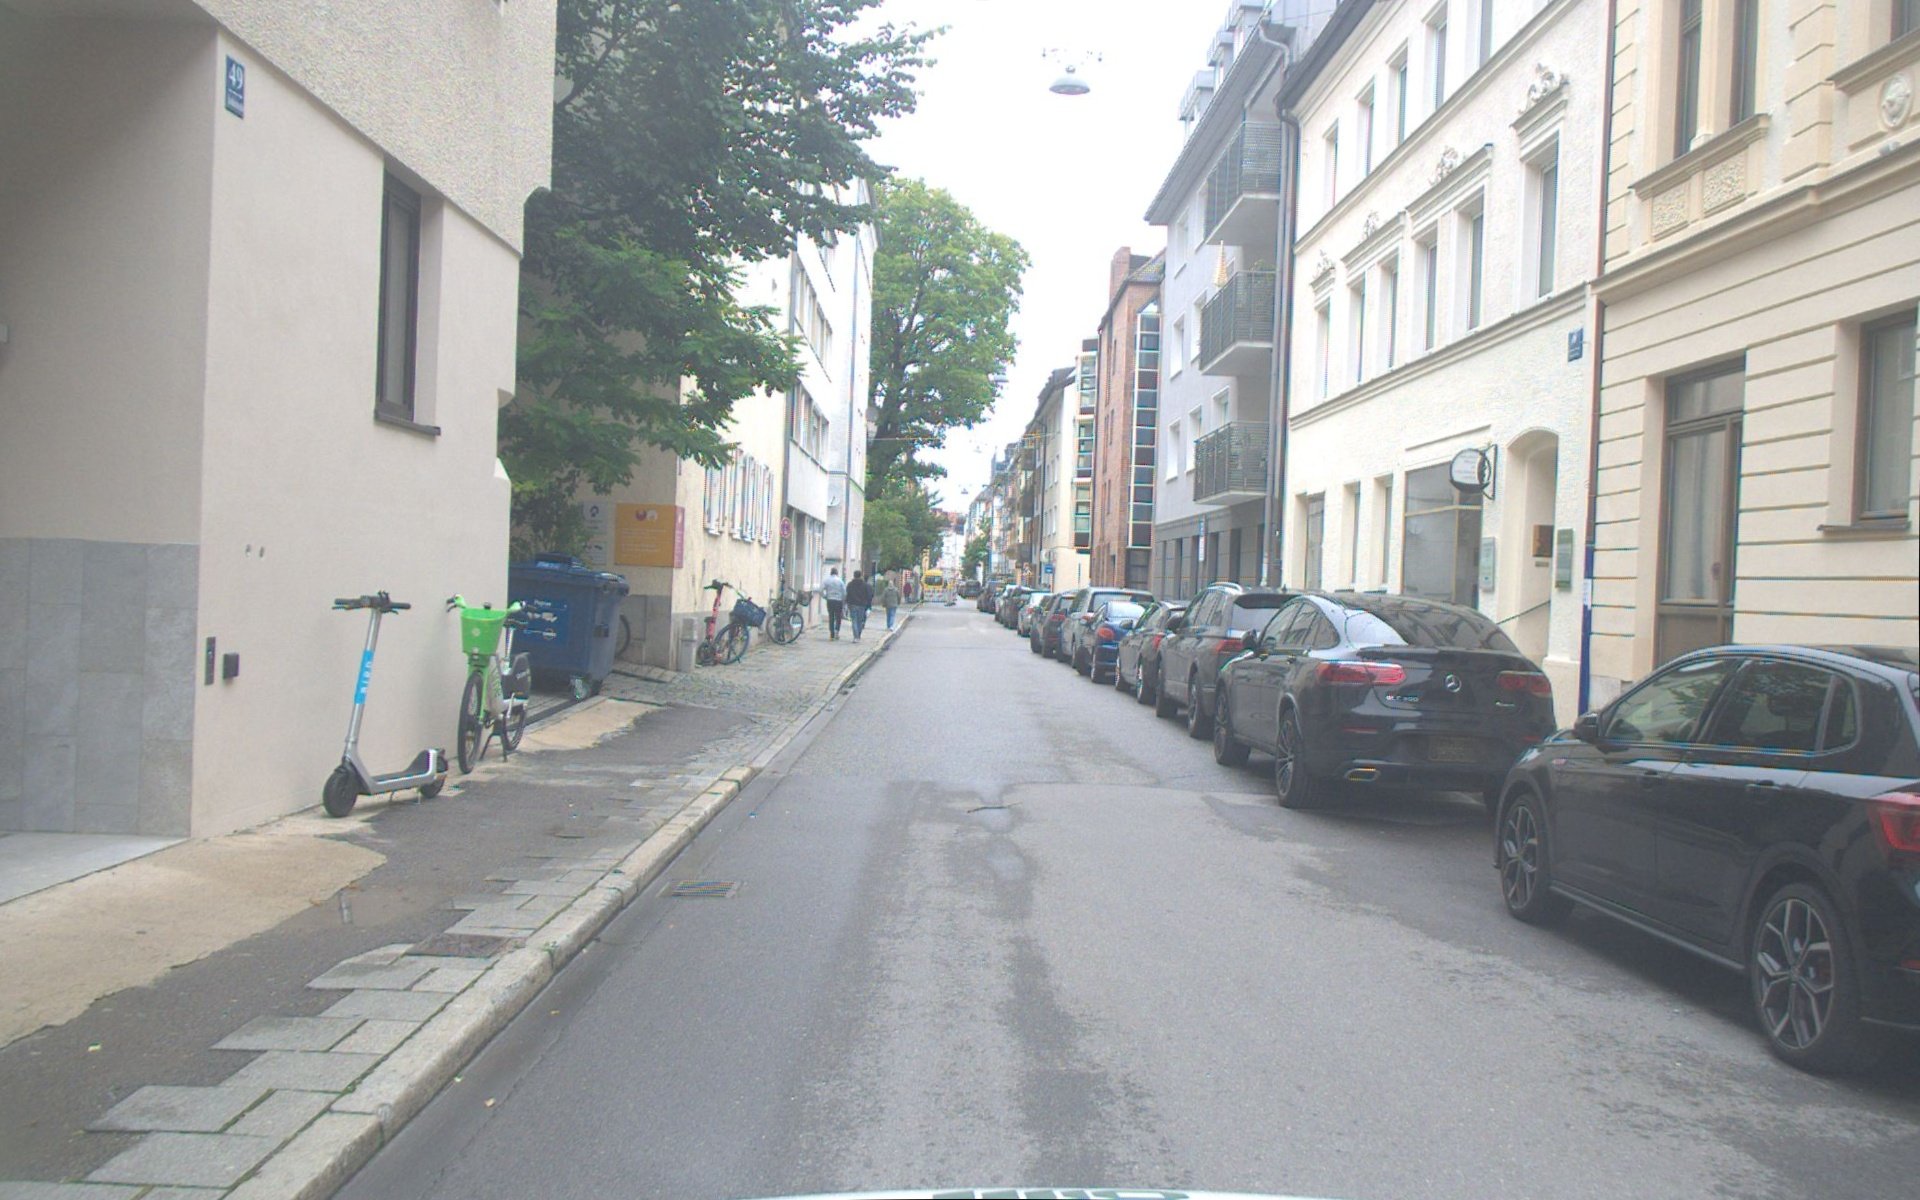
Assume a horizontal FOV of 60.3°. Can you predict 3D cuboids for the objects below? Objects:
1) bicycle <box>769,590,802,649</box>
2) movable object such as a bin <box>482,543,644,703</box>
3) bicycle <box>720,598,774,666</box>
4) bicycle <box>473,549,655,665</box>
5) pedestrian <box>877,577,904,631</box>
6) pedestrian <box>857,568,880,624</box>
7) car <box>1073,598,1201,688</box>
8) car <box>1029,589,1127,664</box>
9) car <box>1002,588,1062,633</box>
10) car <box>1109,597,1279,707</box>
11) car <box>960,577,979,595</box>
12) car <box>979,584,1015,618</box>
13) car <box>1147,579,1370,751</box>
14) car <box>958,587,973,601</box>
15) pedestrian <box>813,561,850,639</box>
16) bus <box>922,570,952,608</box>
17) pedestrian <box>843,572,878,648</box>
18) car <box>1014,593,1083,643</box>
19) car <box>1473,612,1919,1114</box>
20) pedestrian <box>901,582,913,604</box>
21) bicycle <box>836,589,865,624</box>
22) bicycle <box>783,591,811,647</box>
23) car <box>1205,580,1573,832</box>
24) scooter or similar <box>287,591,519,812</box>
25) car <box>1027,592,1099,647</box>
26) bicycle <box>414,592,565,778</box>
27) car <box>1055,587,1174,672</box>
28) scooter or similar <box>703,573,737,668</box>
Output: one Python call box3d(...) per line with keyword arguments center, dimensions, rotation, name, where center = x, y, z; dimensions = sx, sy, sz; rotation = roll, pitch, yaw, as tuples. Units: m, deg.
box3d(center=(-3.689, 0.406, 35.018), dimensions=(0.449, 1.179, 1.605), rotation=(4, 0, 0), name="bicycle")
box3d(center=(-4.115, 0.216, 17.265), dimensions=(1.150, 1.466, 1.249), rotation=(7, 2, 5), name="movable object such as a bin")
box3d(center=(-3.446, 0.502, 26.879), dimensions=(0.690, 1.001, 1.821), rotation=(6, 0, -5), name="bicycle")
box3d(center=(-5.165, 0.088, 21.656), dimensions=(2.156, 1.321, 0.514), rotation=(5, 0, -2), name="bicycle")
box3d(center=(-2.259, 0.137, 54.122), dimensions=(0.738, 1.687, 0.906), rotation=(4, 0, -1), name="pedestrian")
box3d(center=(-2.957, -0.122, 53.696), dimensions=(0.600, 1.743, 0.823), rotation=(4, 0, -1), name="pedestrian")
box3d(center=(3.016, 0.703, 28.903), dimensions=(1.771, 1.387, 3.945), rotation=(2, 0, 0), name="car")
box3d(center=(2.708, 0.568, 38.703), dimensions=(1.803, 1.555, 4.291), rotation=(3, 0, -2), name="car")
box3d(center=(2.712, 0.362, 63.569), dimensions=(1.848, 1.582, 4.389), rotation=(3, 0, -3), name="car")
box3d(center=(3.336, 0.692, 24.372), dimensions=(1.763, 1.410, 4.348), rotation=(2, 0, -1), name="car")
box3d(center=(0.994, -1.474, 177.791), dimensions=(1.766, 1.741, 3.825), rotation=(6, 0, -2), name="car")
box3d(center=(2.219, 0.033, 100.046), dimensions=(1.766, 1.851, 3.998), rotation=(6, 0, -3), name="car")
box3d(center=(3.316, 0.641, 19.197), dimensions=(1.642, 1.690, 4.512), rotation=(3, 0, -1), name="car")
box3d(center=(0.719, -0.800, 206.107), dimensions=(1.764, 1.642, 4.000), rotation=(3, 0, 0), name="car")
box3d(center=(-3.125, 0.002, 40.303), dimensions=(0.704, 1.827, 0.917), rotation=(4, 0, -1), name="pedestrian")
box3d(center=(-1.992, -0.960, 145.771), dimensions=(2.540, 3.156, 6.305), rotation=(1, 0, 0), name="bus")
box3d(center=(-2.429, 0.242, 40.586), dimensions=(0.704, 1.796, 0.838), rotation=(4, 0, -1), name="pedestrian")
box3d(center=(2.826, 0.555, 53.723), dimensions=(1.799, 1.442, 4.599), rotation=(3, 0, -2), name="car")
box3d(center=(3.655, 0.830, 6.928), dimensions=(1.642, 1.417, 4.065), rotation=(3, 0, -1), name="car")
box3d(center=(-3.634, -0.473, 113.070), dimensions=(0.740, 1.517, 0.831), rotation=(1, 0, -1), name="pedestrian")
box3d(center=(-3.958, 0.240, 59.694), dimensions=(0.632, 1.239, 1.655), rotation=(2, 0, -19), name="bicycle")
box3d(center=(-3.634, 0.409, 36.735), dimensions=(0.551, 1.179, 1.718), rotation=(2, 0, -6), name="bicycle")
box3d(center=(3.255, 0.699, 13.546), dimensions=(1.667, 1.635, 4.684), rotation=(3, 0, -1), name="car")
box3d(center=(-3.245, 0.568, 9.751), dimensions=(0.540, 1.163, 1.359), rotation=(5, 0, 16), name="scooter or similar")
box3d(center=(3.007, 0.547, 49.126), dimensions=(1.710, 1.487, 4.149), rotation=(3, 0, -2), name="car")
box3d(center=(-3.318, 0.553, 11.814), dimensions=(0.533, 1.181, 1.881), rotation=(4, 0, -2), name="bicycle")
box3d(center=(3.084, 0.549, 33.824), dimensions=(1.838, 1.598, 4.314), rotation=(1, 0, -2), name="car")
box3d(center=(-3.643, 0.305, 25.144), dimensions=(0.311, 1.400, 1.239), rotation=(1, 0, -1), name="scooter or similar")
